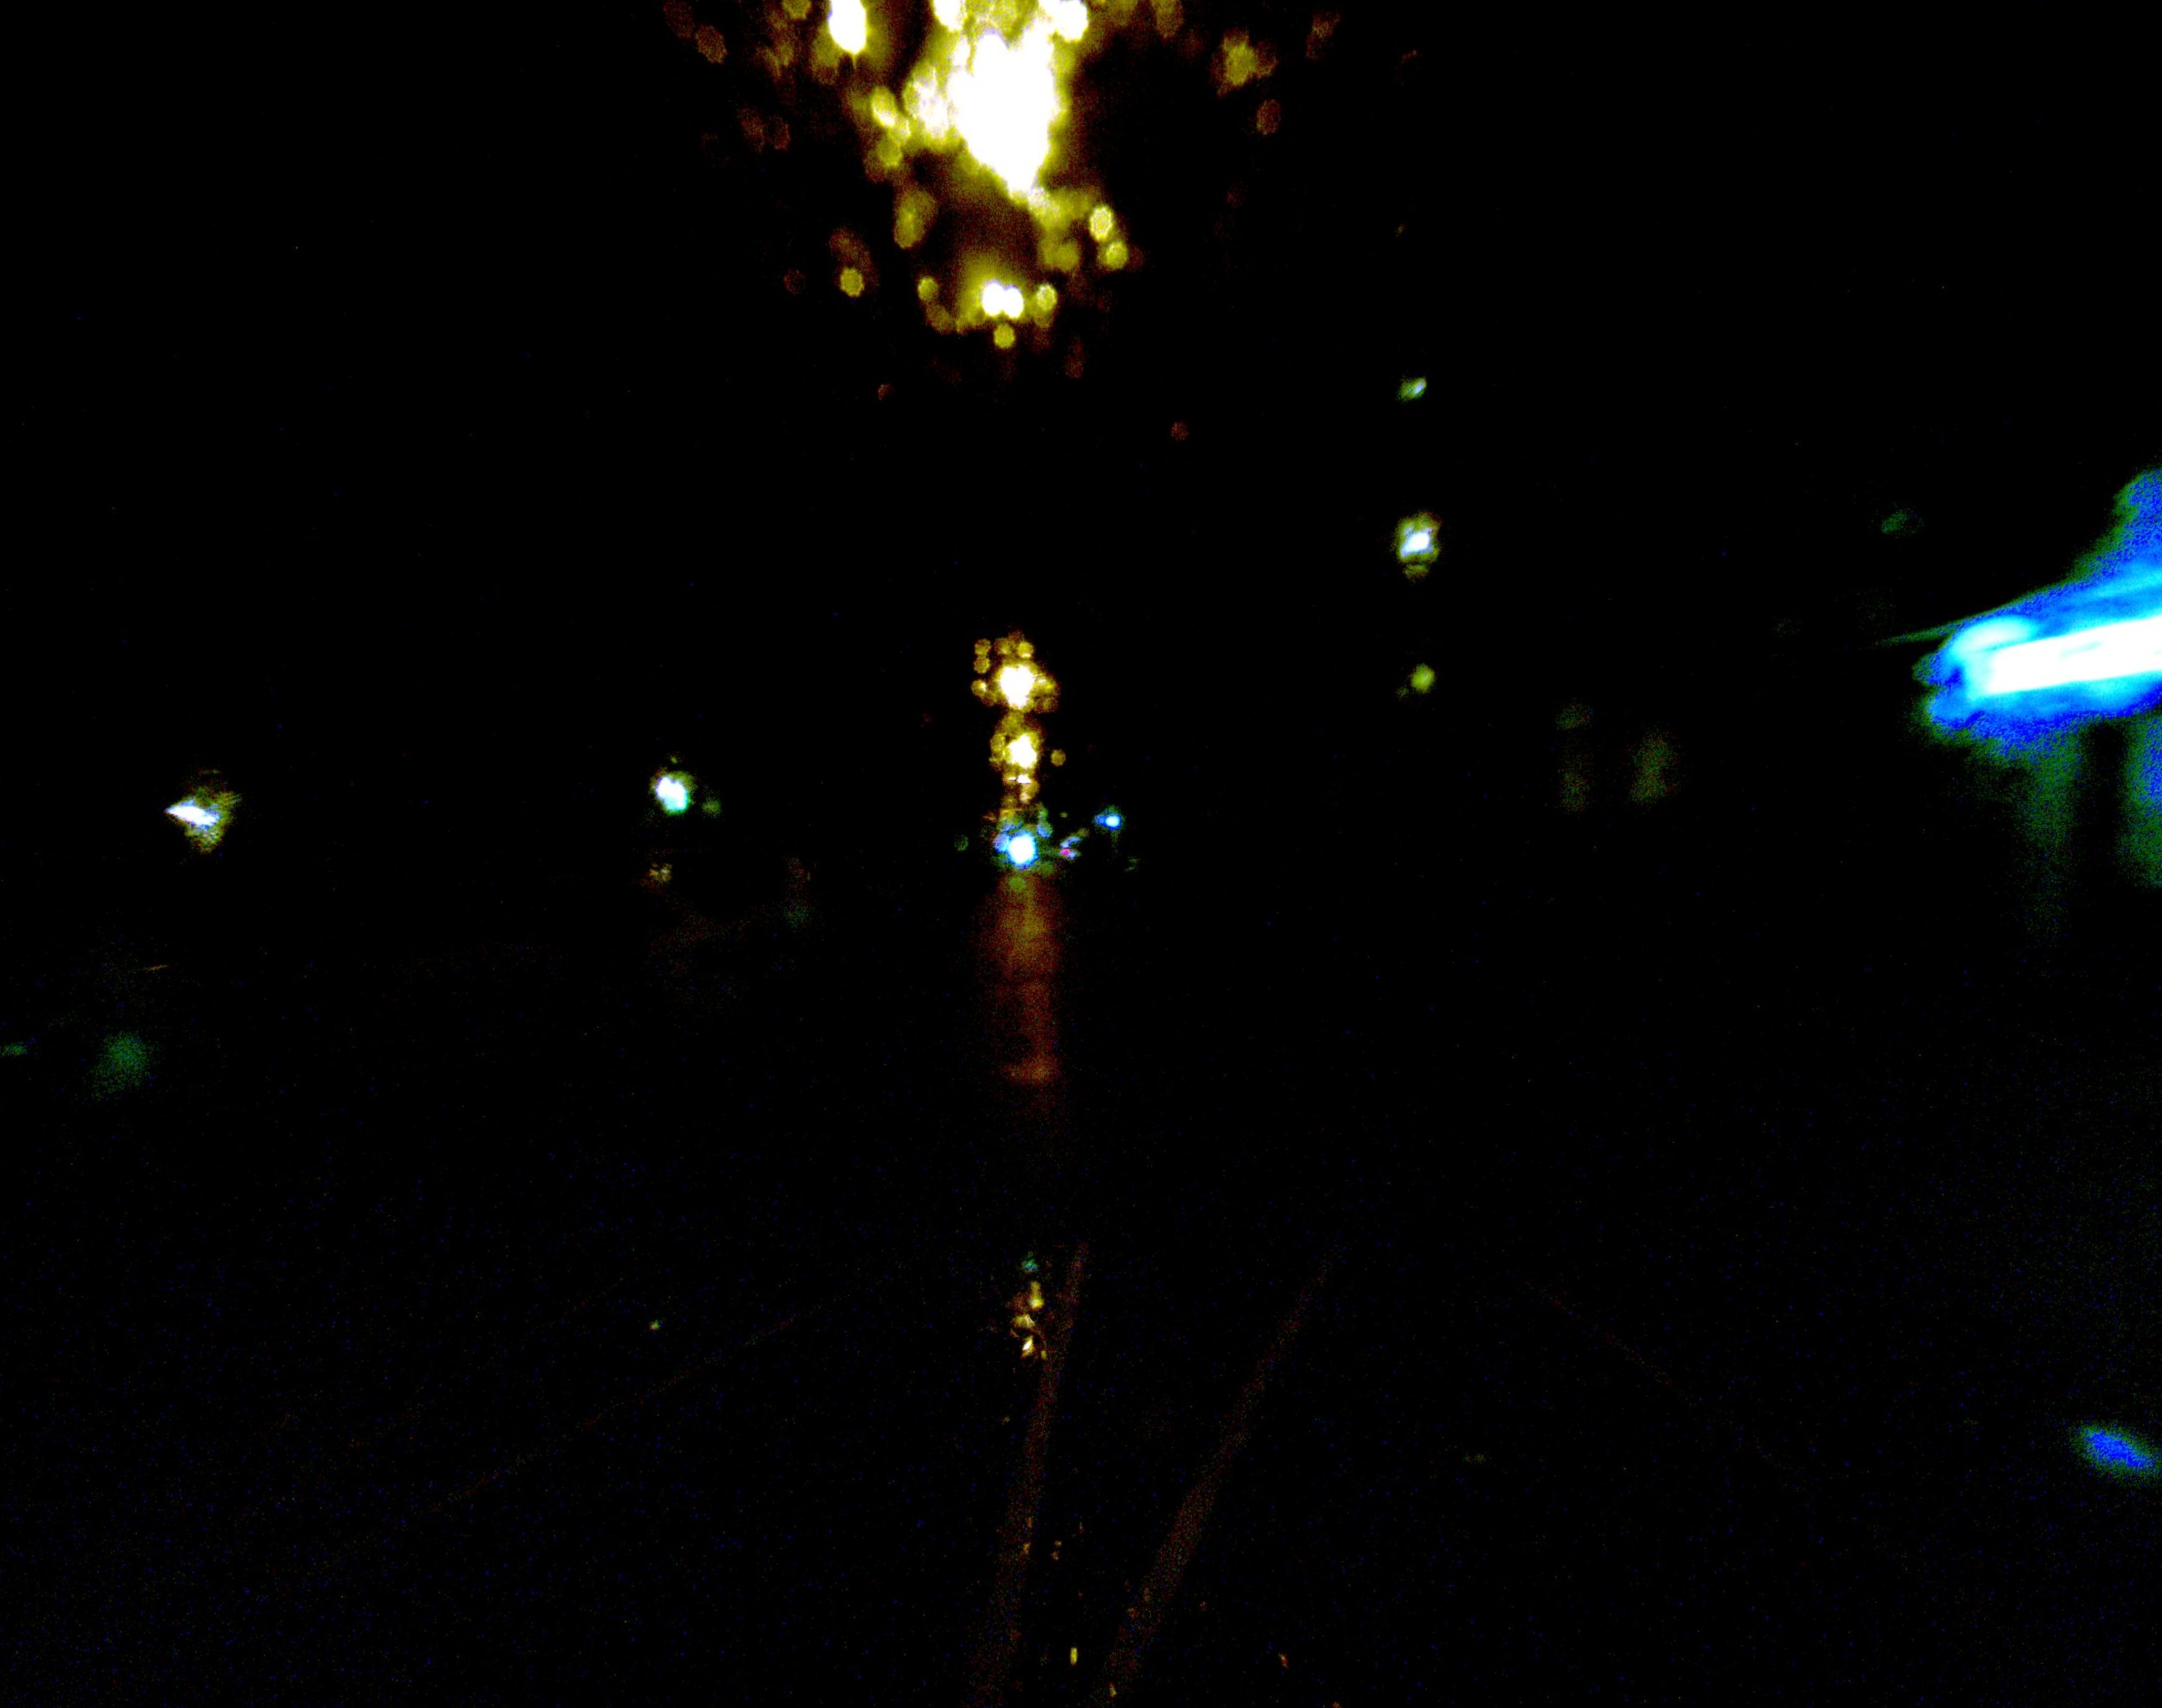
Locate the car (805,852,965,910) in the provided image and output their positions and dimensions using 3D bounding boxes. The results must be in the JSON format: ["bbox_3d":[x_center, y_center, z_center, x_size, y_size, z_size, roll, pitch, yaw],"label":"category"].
[{"bbox_3d":[-5.544,0.703,21.740,4.065,1.445,1.674,-1,1,-39],"label":"car"}]

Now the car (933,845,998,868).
[{"bbox_3d":[-7.652,0.153,50.371,3.940,1.455,1.707,1,1,-27],"label":"car"}]

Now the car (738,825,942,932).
[{"bbox_3d":[-5.069,0.453,16.159,3.748,2.017,1.716,0,1,-39],"label":"car"}]

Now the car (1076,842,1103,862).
[{"bbox_3d":[0.640,-0.176,61.106,1.852,1.470,3.733,-2,1,-4],"label":"car"}]

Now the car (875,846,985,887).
[{"bbox_3d":[-6.043,0.474,30.547,3.942,1.541,1.738,0,1,-38],"label":"car"}]

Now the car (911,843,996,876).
[{"bbox_3d":[-6.527,0.288,38.955,3.940,1.610,1.707,1,1,-26],"label":"car"}]

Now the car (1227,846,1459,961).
[{"bbox_3d":[4.013,0.630,12.691,1.852,1.470,5.028,-1,1,-4],"label":"car"}]

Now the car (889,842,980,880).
[{"bbox_3d":[-6.961,0.308,36.210,3.940,1.732,1.707,1,1,-26],"label":"car"}]

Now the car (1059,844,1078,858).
[{"bbox_3d":[-1.407,-0.353,86.124,1.852,1.571,3.733,-2,1,-4],"label":"car"}]

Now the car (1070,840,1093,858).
[{"bbox_3d":[0.003,-0.485,72.957,1.852,1.571,3.733,-2,1,-4],"label":"car"}]

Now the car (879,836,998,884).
[{"bbox_3d":[-6.195,0.256,33.243,4.720,1.969,1.974,1,1,-33],"label":"car"}]

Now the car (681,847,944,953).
[{"bbox_3d":[-4.706,0.716,13.447,4.080,1.588,1.829,1,1,-32],"label":"car"}]

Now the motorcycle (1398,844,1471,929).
[{"bbox_3d":[6.452,0.557,13.945,0.538,1.463,1.457,-2,1,-4],"label":"motorcycle"}]

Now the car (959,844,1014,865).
[{"bbox_3d":[-7.397,0.015,59.586,3.940,1.553,1.707,1,1,-27],"label":"car"}]

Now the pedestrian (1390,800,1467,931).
[{"bbox_3d":[6.144,0.190,13.504,0.801,2.228,1.116,-1,1,-5],"label":"pedestrian"}]

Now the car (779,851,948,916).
[{"bbox_3d":[-5.395,0.683,19.020,3.712,1.444,1.654,1,1,-36],"label":"car"}]

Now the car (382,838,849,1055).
[{"bbox_3d":[-4.548,0.727,7.804,3.748,1.702,1.767,0,1,-39],"label":"car"}]

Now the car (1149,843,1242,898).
[{"bbox_3d":[3.359,0.422,23.066,1.721,1.470,4.156,-1,1,-7],"label":"car"}]

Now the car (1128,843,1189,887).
[{"bbox_3d":[2.804,0.343,28.348,1.720,1.470,3.784,-2,1,-2],"label":"car"}]

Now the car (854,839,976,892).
[{"bbox_3d":[-5.948,0.395,27.502,3.942,1.782,1.738,0,1,-41],"label":"car"}]

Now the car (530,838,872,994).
[{"bbox_3d":[-4.978,0.679,10.168,3.801,1.702,1.743,0,1,-39],"label":"car"}]

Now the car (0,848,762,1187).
[{"bbox_3d":[-4.526,0.779,4.948,4.271,1.564,1.767,1,1,-32],"label":"car"}]

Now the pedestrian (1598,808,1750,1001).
[{"bbox_3d":[6.045,0.474,7.813,0.676,1.822,1.077,-2,1,-2],"label":"pedestrian"}]

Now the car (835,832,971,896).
[{"bbox_3d":[-5.755,0.301,24.819,3.942,1.931,1.738,0,1,-41],"label":"car"}]

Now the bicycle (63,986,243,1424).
[{"bbox_3d":[-3.412,1.113,2.813,1.641,1.020,0.337,0,0,40],"label":"bicycle"}]

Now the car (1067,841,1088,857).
[{"bbox_3d":[-0.341,-0.537,77.848,1.852,1.571,3.733,-2,1,-4],"label":"car"}]

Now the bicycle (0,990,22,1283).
[{"bbox_3d":[-3.830,1.093,2.432,1.641,1.021,0.337,3,2,41],"label":"bicycle"}]
